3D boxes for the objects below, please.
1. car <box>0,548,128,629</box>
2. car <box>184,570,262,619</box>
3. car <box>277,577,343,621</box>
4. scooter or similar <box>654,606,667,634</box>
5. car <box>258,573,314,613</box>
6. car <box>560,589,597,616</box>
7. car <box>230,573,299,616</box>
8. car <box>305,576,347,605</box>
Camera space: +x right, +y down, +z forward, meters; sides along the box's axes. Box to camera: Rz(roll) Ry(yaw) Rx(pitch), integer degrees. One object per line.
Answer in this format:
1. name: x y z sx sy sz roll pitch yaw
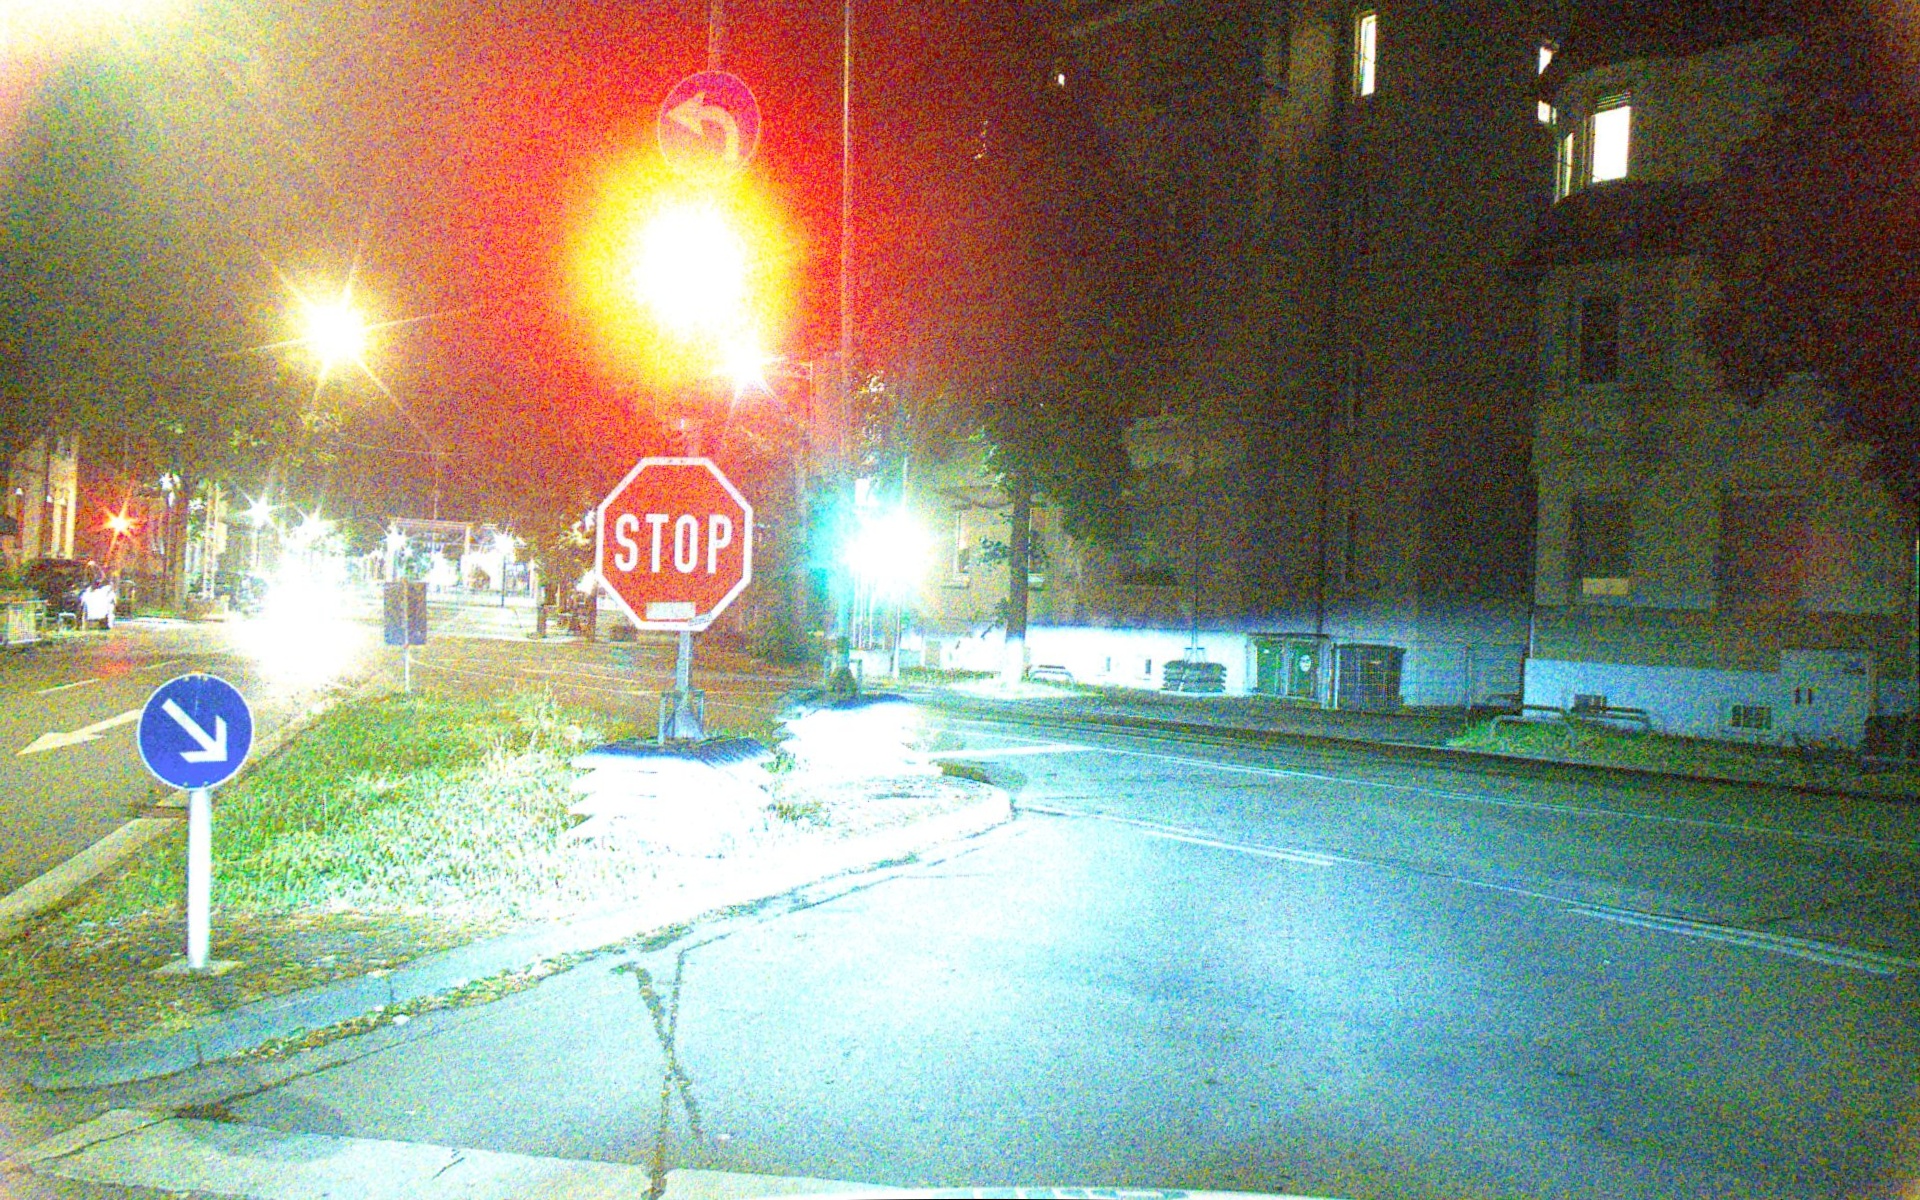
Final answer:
1. car: -20.559 -0.262 37.724 1.854 1.624 4.009 5 -1 -14
2. car: -25.758 -0.190 57.942 1.564 1.517 3.689 6 -1 -11
3. car: -22.964 -0.061 58.534 1.687 1.454 3.984 1 0 -15
4. scooter or similar: -12.436 0.818 68.650 0.414 1.150 1.491 2 0 -8
5. car: -29.280 -0.320 71.899 1.757 1.517 3.981 6 -1 -17
6. car: -24.029 0.145 104.031 1.708 1.485 4.701 4 -1 -19
7. car: -27.824 -0.230 66.276 1.754 1.517 4.314 6 -1 -14
8. car: -35.217 -0.563 91.941 1.756 1.440 4.107 5 -1 -17
